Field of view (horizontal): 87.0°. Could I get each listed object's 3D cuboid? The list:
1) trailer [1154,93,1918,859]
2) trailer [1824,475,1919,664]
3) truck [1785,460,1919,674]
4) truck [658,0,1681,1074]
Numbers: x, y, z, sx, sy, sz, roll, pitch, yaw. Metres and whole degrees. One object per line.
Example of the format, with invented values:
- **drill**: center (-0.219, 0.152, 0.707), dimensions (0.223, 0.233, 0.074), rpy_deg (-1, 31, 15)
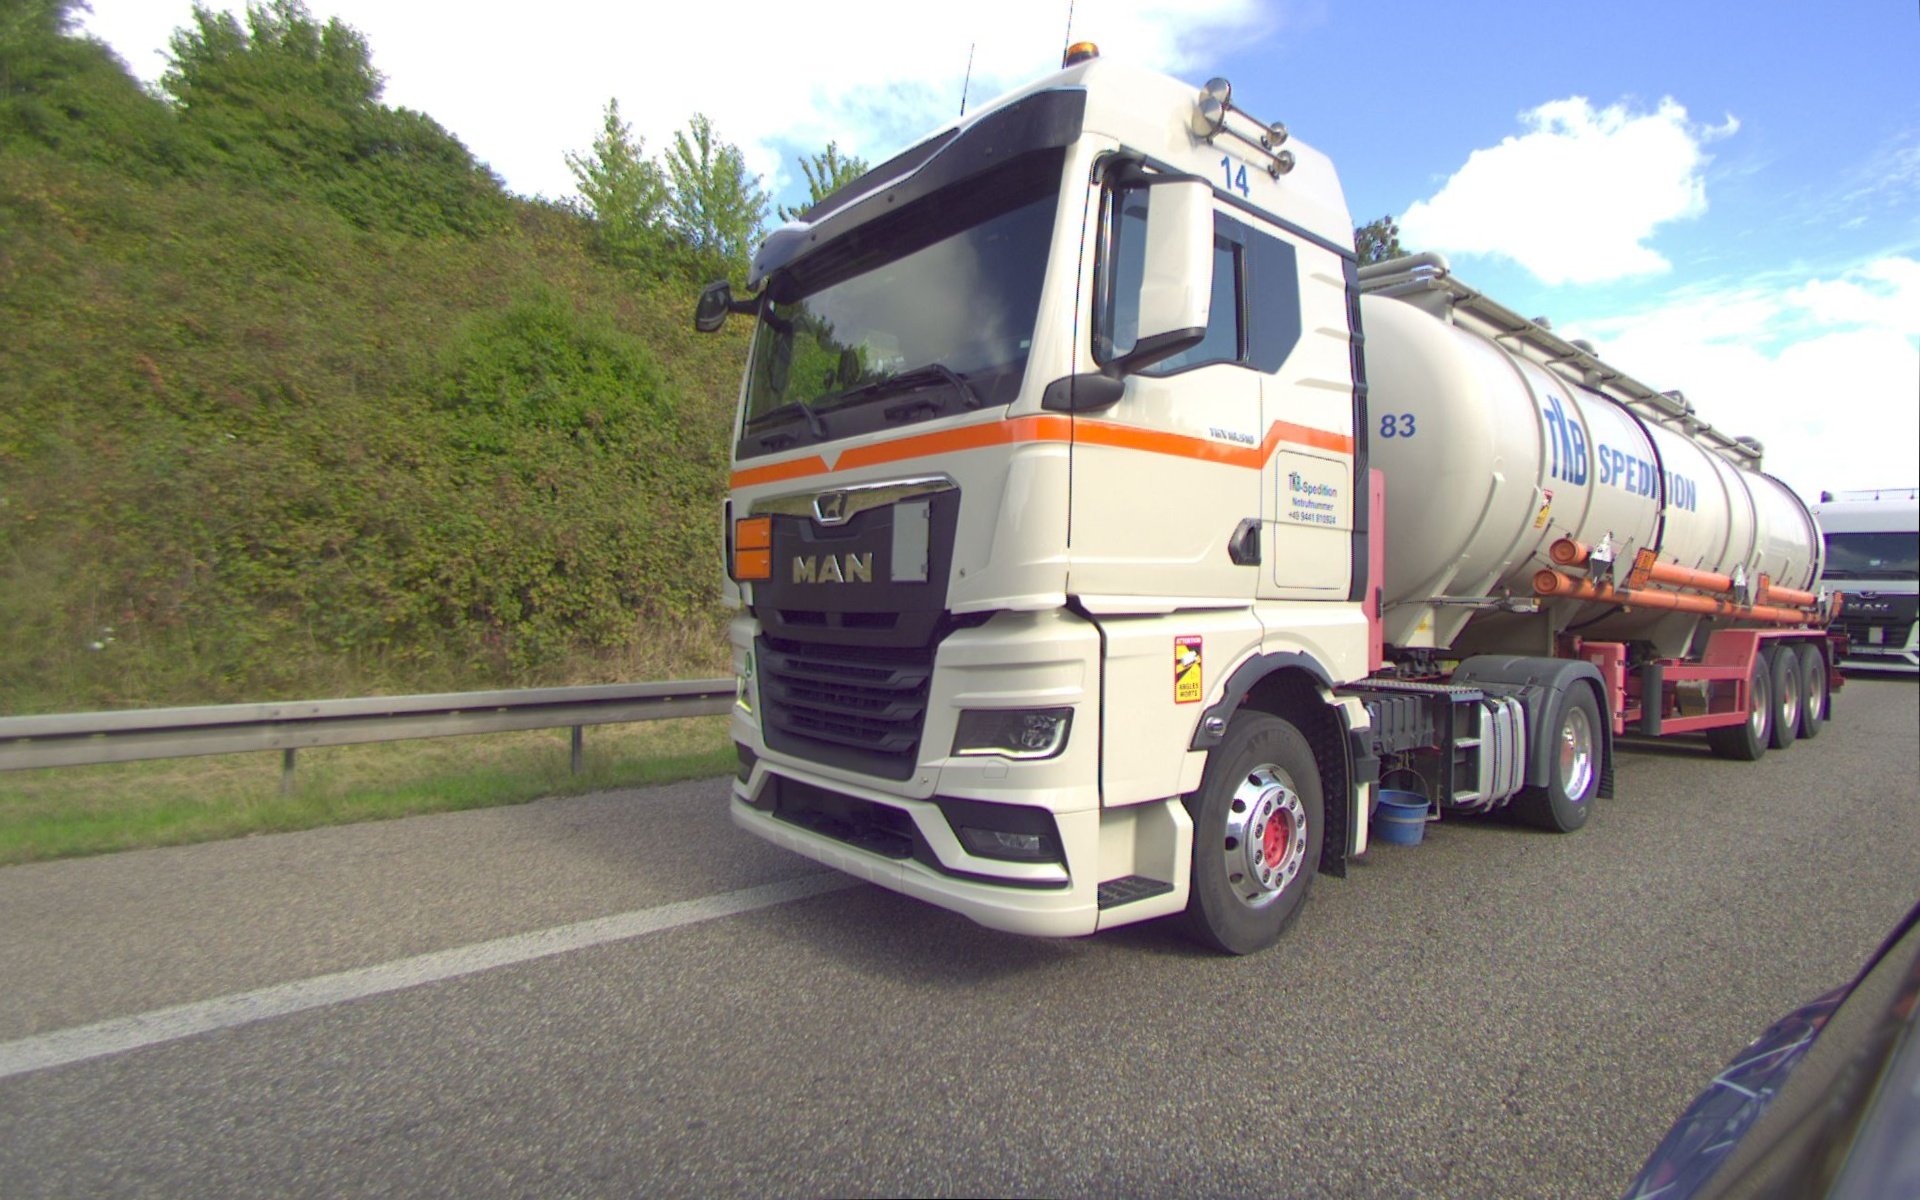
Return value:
- **trailer**: center (6.577, -0.690, 9.970), dimensions (10.981, 4.077, 2.804), rpy_deg (0, 0, -39)
- **trailer**: center (25.888, -0.673, 26.389), dimensions (13.131, 4.122, 2.832), rpy_deg (0, 1, -39)
- **truck**: center (20.261, -0.644, 21.759), dimensions (5.605, 4.123, 2.840), rpy_deg (0, 0, -39)
- **truck**: center (1.593, -0.695, 5.881), dimensions (5.797, 4.094, 2.809), rpy_deg (0, 0, -39)
